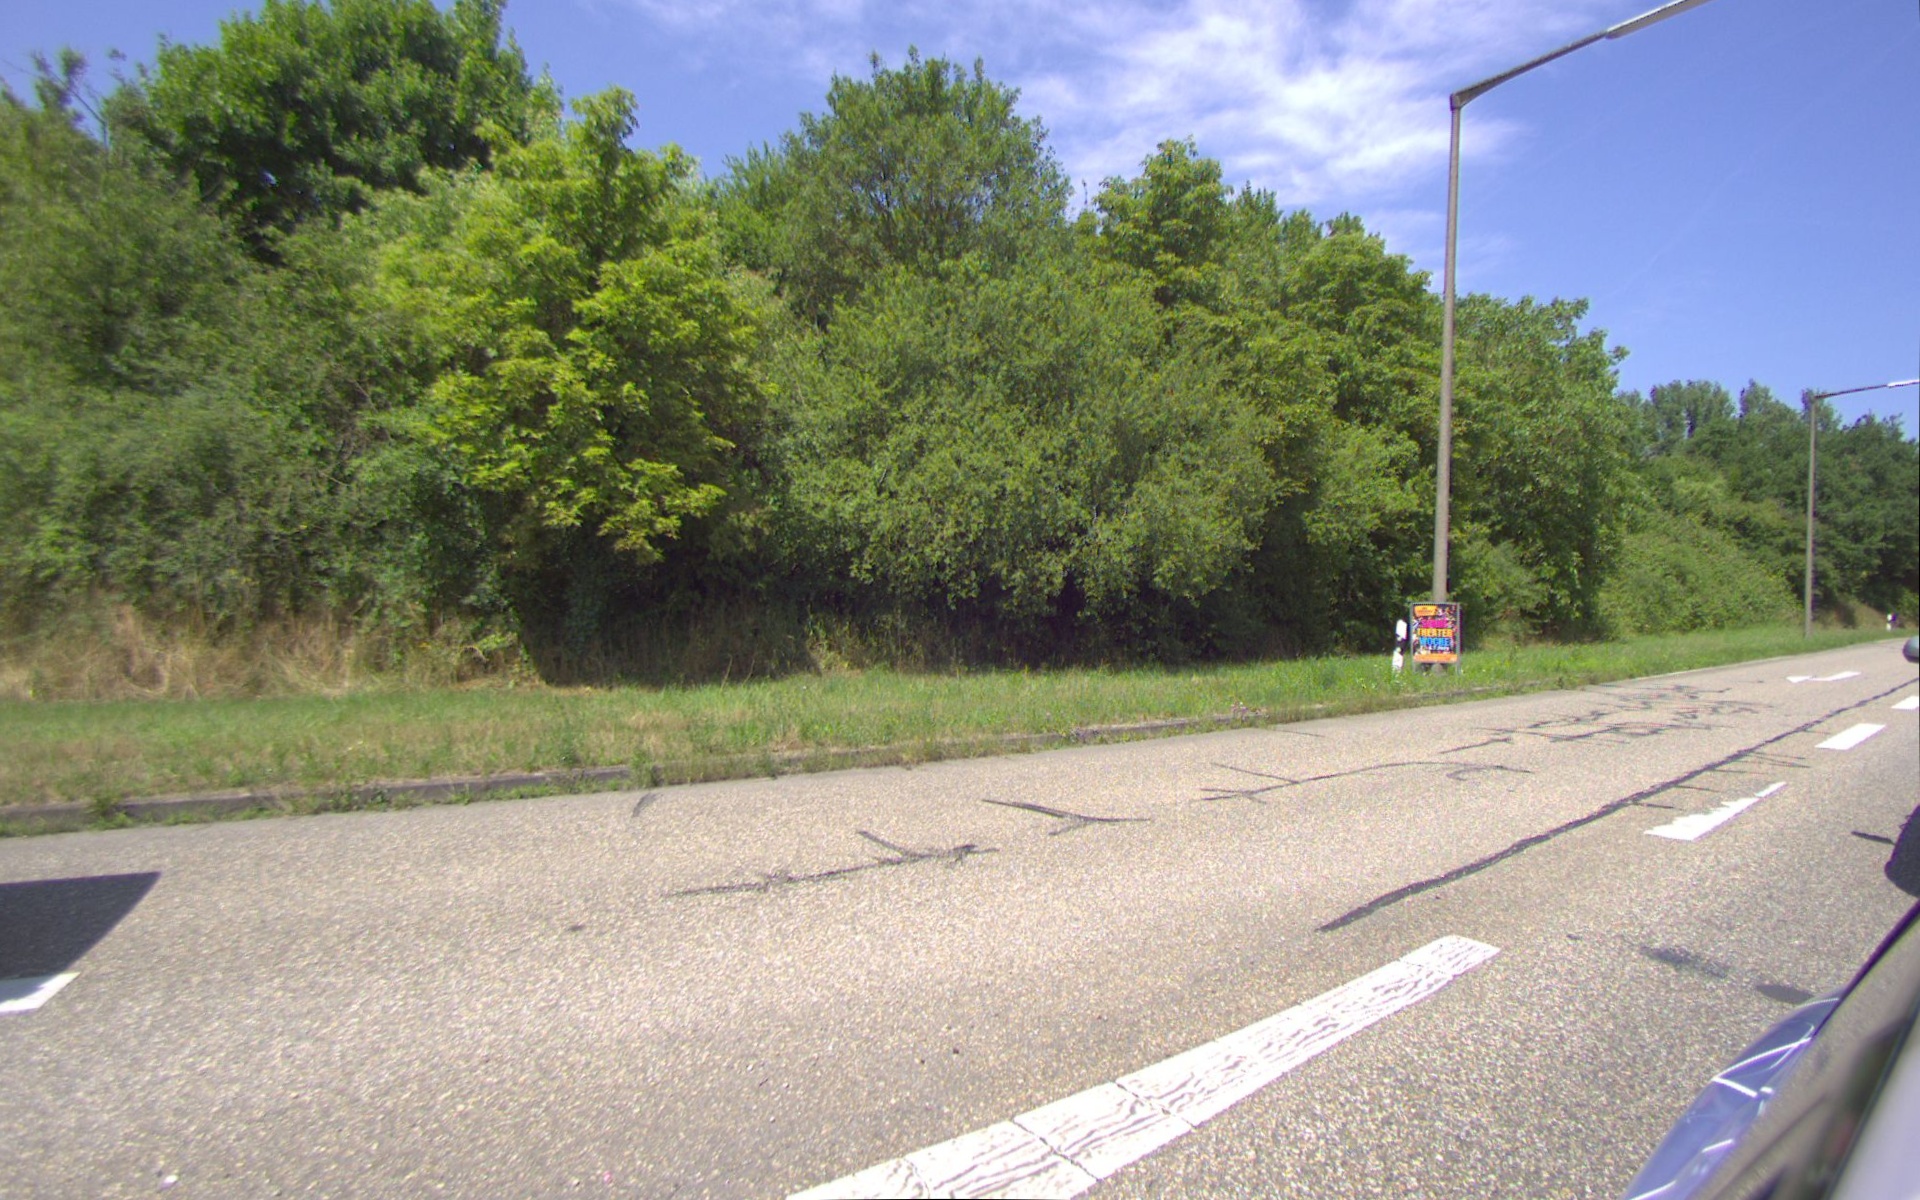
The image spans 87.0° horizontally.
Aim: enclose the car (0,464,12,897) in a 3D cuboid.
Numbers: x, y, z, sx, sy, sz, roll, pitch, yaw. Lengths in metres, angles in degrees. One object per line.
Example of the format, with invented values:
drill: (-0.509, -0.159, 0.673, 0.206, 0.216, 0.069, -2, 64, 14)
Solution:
car: (-5.834, 0.347, 2.450, 4.807, 1.841, 1.869, 1, 1, -27)
